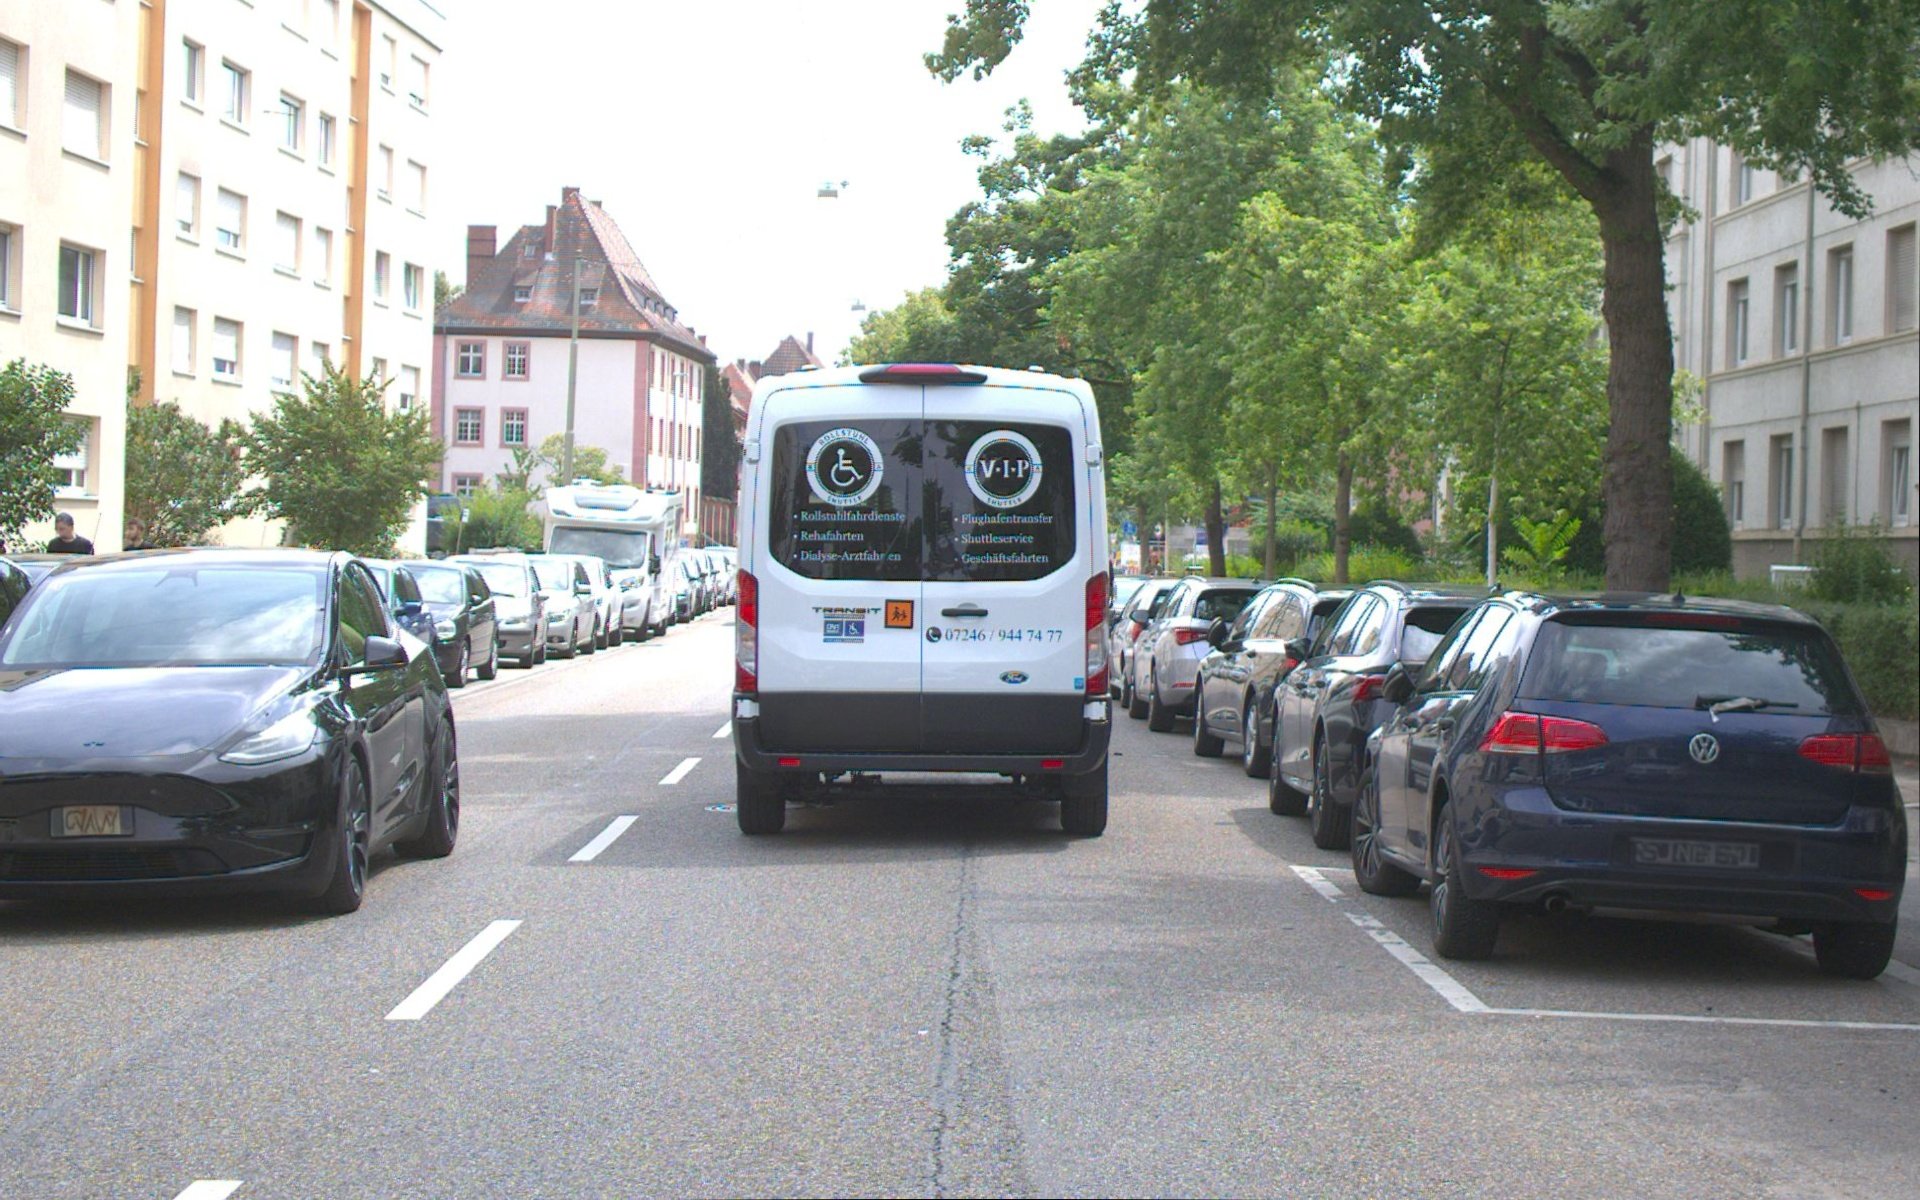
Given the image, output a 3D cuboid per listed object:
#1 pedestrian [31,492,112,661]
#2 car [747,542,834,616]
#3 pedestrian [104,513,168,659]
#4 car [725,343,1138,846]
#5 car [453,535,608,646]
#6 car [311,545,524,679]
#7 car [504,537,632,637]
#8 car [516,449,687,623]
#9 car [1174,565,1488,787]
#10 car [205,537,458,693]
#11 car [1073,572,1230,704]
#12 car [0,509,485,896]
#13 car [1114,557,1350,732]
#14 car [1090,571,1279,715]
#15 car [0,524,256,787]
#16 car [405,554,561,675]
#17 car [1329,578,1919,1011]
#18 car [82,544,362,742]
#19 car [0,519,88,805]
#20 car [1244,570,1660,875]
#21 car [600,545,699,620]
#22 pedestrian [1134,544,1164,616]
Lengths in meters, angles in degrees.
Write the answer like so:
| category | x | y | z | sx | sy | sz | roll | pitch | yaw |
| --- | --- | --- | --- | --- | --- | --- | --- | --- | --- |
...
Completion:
| category | x | y | z | sx | sy | sz | roll | pitch | yaw |
| --- | --- | --- | --- | --- | --- | --- | --- | --- | --- |
| pedestrian | -9.689 | -0.259 | 37.511 | 0.619 | 1.807 | 0.899 | 2 | 0 | -3 |
| car | -3.750 | -0.492 | 76.739 | 1.818 | 1.580 | 4.436 | 1 | 1 | -1 |
| pedestrian | -10.388 | -0.178 | 43.360 | 0.619 | 1.807 | 0.804 | 1 | 0 | -3 |
| car | -0.237 | -0.037 | 19.779 | 2.070 | 2.532 | 4.635 | 1 | 0 | -2 |
| car | -6.656 | -0.169 | 53.673 | 1.755 | 1.574 | 4.568 | 3 | 1 | 0 |
| car | -6.566 | 0.116 | 41.992 | 1.818 | 1.478 | 4.116 | 3 | 1 | 1 |
| car | -6.670 | -0.245 | 58.875 | 1.688 | 1.574 | 4.594 | 3 | 1 | -1 |
| car | -6.779 | -1.206 | 65.855 | 2.510 | 3.014 | 7.397 | 3 | 1 | -1 |
| car | 2.762 | 0.511 | 26.619 | 1.697 | 1.464 | 4.754 | 3 | 1 | -2 |
| car | -6.598 | 0.128 | 36.463 | 1.818 | 1.478 | 3.884 | 3 | 1 | 1 |
| car | 2.359 | 0.428 | 42.970 | 1.780 | 1.464 | 4.614 | 3 | 1 | 2 |
| car | -3.498 | 0.382 | 15.915 | 1.951 | 1.516 | 4.613 | -1 | 1 | 0 |
| car | 2.517 | 0.365 | 32.862 | 1.697 | 1.464 | 4.718 | 3 | 1 | -1 |
| car | 2.435 | 0.439 | 38.082 | 1.670 | 1.396 | 3.852 | 4 | 1 | -1 |
| car | -6.330 | 0.303 | 23.820 | 1.942 | 1.607 | 4.302 | 3 | 1 | 0 |
| car | -6.673 | 0.170 | 48.435 | 1.722 | 1.534 | 4.005 | 2 | 2 | -2 |
| car | 2.660 | 0.695 | 14.540 | 1.697 | 1.464 | 4.101 | 3 | 1 | 0 |
| car | -6.466 | 0.332 | 30.478 | 1.670 | 1.556 | 3.852 | 3 | 1 | -1 |
| car | -6.350 | 0.312 | 18.465 | 1.942 | 1.607 | 4.861 | 3 | 1 | 1 |
| car | 2.712 | 0.608 | 19.917 | 1.697 | 1.464 | 4.560 | 3 | 1 | 0 |
| car | -7.054 | -0.428 | 78.439 | 1.885 | 1.574 | 5.220 | 3 | 1 | -2 |
| pedestrian | 4.843 | -0.516 | 88.273 | 0.522 | 1.822 | 0.523 | 0 | 1 | -43 |
